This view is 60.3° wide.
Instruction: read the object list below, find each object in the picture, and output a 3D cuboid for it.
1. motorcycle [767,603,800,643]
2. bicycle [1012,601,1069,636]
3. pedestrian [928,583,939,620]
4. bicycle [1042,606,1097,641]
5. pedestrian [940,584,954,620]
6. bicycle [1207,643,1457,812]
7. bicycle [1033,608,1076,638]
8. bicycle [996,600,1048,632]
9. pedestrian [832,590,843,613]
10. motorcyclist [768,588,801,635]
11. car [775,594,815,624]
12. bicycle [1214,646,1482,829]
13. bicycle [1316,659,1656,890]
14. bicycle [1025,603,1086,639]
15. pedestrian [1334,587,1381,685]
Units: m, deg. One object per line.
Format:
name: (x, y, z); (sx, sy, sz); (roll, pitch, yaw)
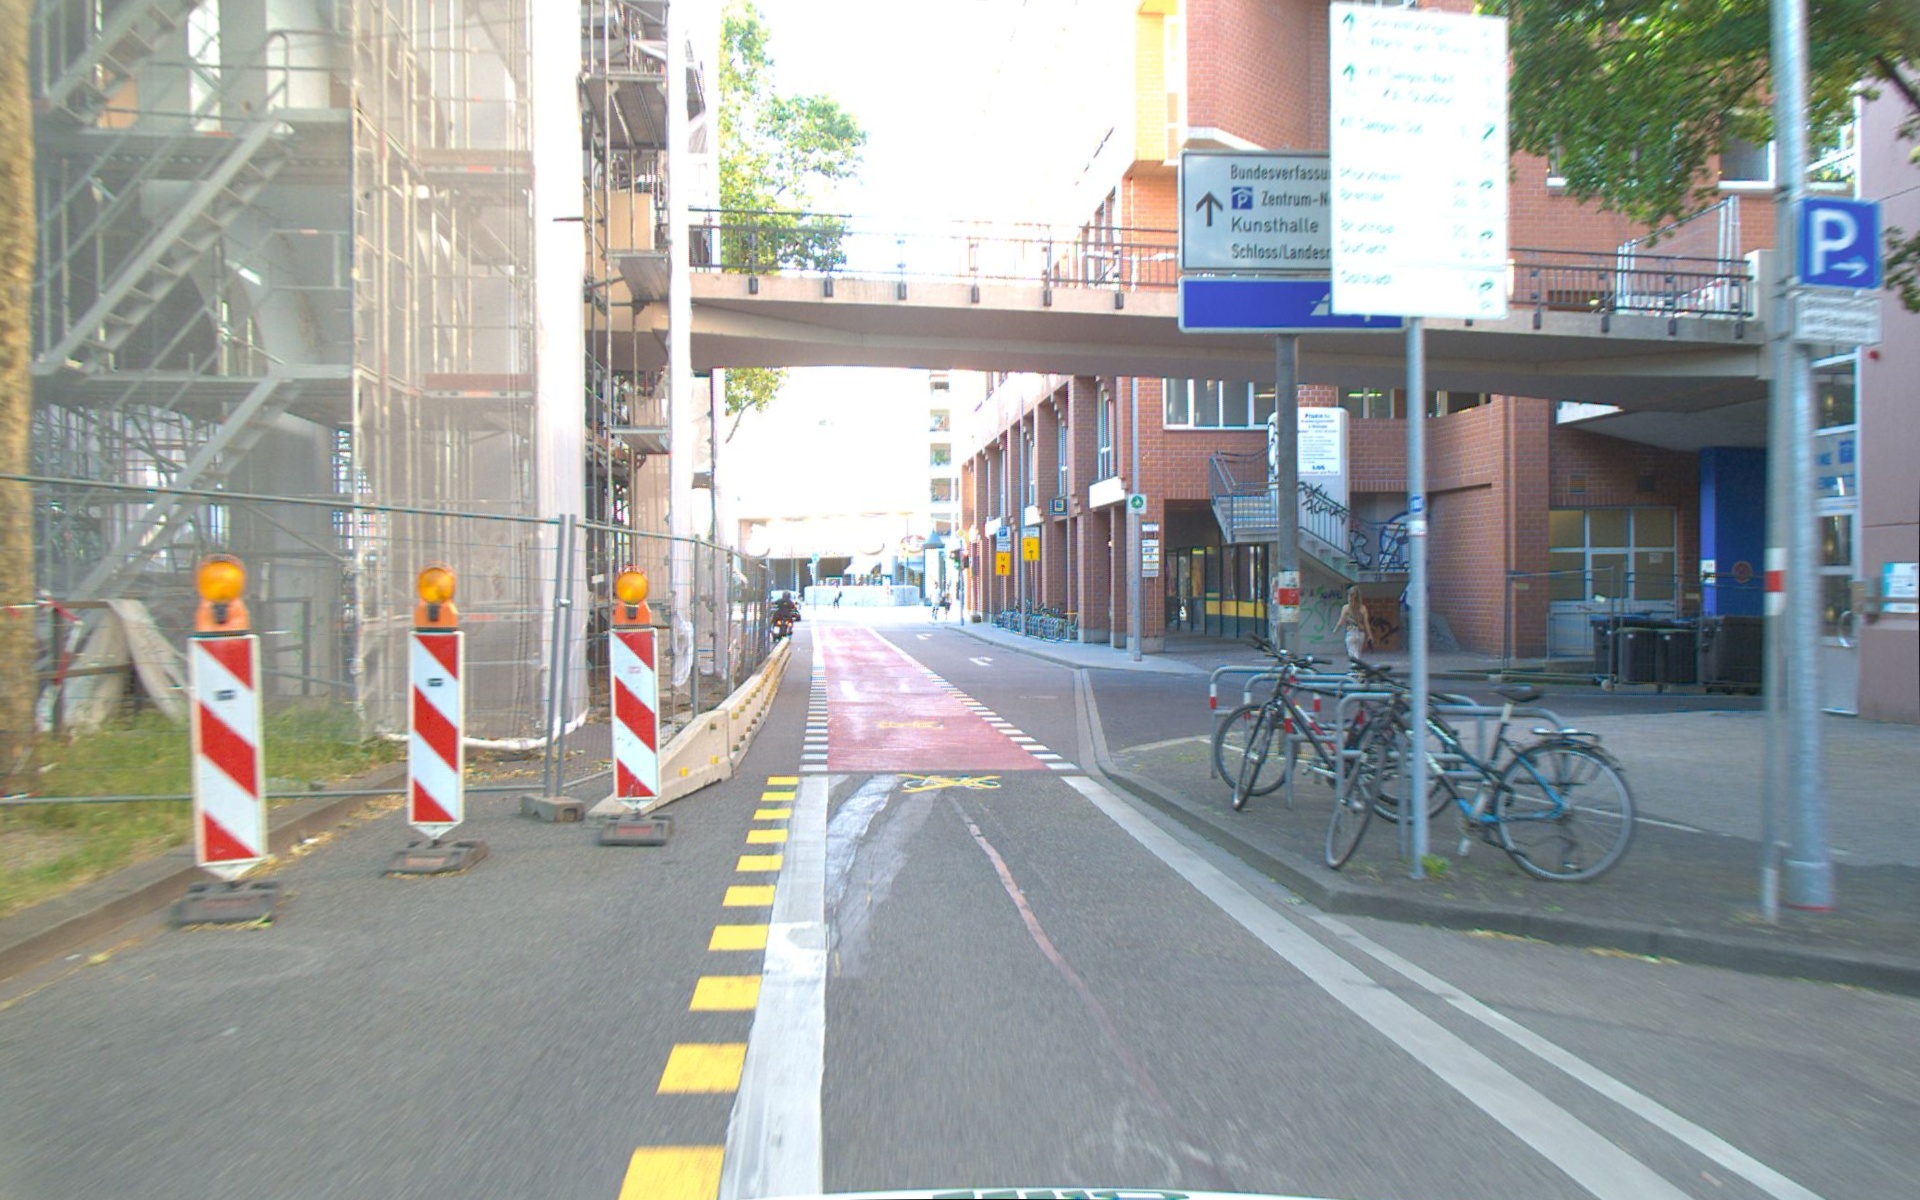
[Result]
motorcycle: (-5.299, 0.672, 49.794); (0.954, 1.151, 2.801); (1, 0, -6)
bicycle: (2.761, 0.632, 56.707); (1.855, 1.138, 0.549); (-1, 0, -6)
pedestrian: (-1.308, 0.057, 82.018); (0.466, 1.824, 0.540); (0, 0, -6)
bicycle: (3.303, 0.704, 50.005); (1.580, 0.971, 0.554); (-3, 0, -4)
pedestrian: (-0.647, 0.106, 82.070); (0.621, 1.755, 0.629); (0, 0, -6)
bicycle: (2.608, 0.864, 11.651); (1.645, 1.086, 0.500); (0, 0, 29)
bicycle: (3.007, 0.732, 52.612); (1.307, 0.856, 0.424); (-3, 0, -4)
bicycle: (2.286, 0.585, 60.800); (1.855, 1.138, 0.474); (-1, 0, -6)
pedestrian: (-8.636, 0.096, 116.546); (0.547, 1.611, 0.538); (0, 0, 42)
motorcyclist: (-5.270, 0.341, 49.589); (0.952, 1.370, 1.136); (1, 0, -6)
car: (-8.146, 0.434, 81.568); (1.886, 1.413, 3.994); (0, 0, -7)
bicycle: (2.534, 0.869, 10.855); (1.645, 1.086, 0.500); (0, 0, 29)
bicycle: (2.717, 0.876, 8.627); (1.642, 1.086, 0.511); (0, 0, 18)
bicycle: (3.114, 0.683, 53.938); (1.894, 1.075, 0.572); (-2, 0, -3)
pedestrian: (6.845, 0.609, 28.497); (0.558, 1.662, 0.777); (0, 0, -7)
